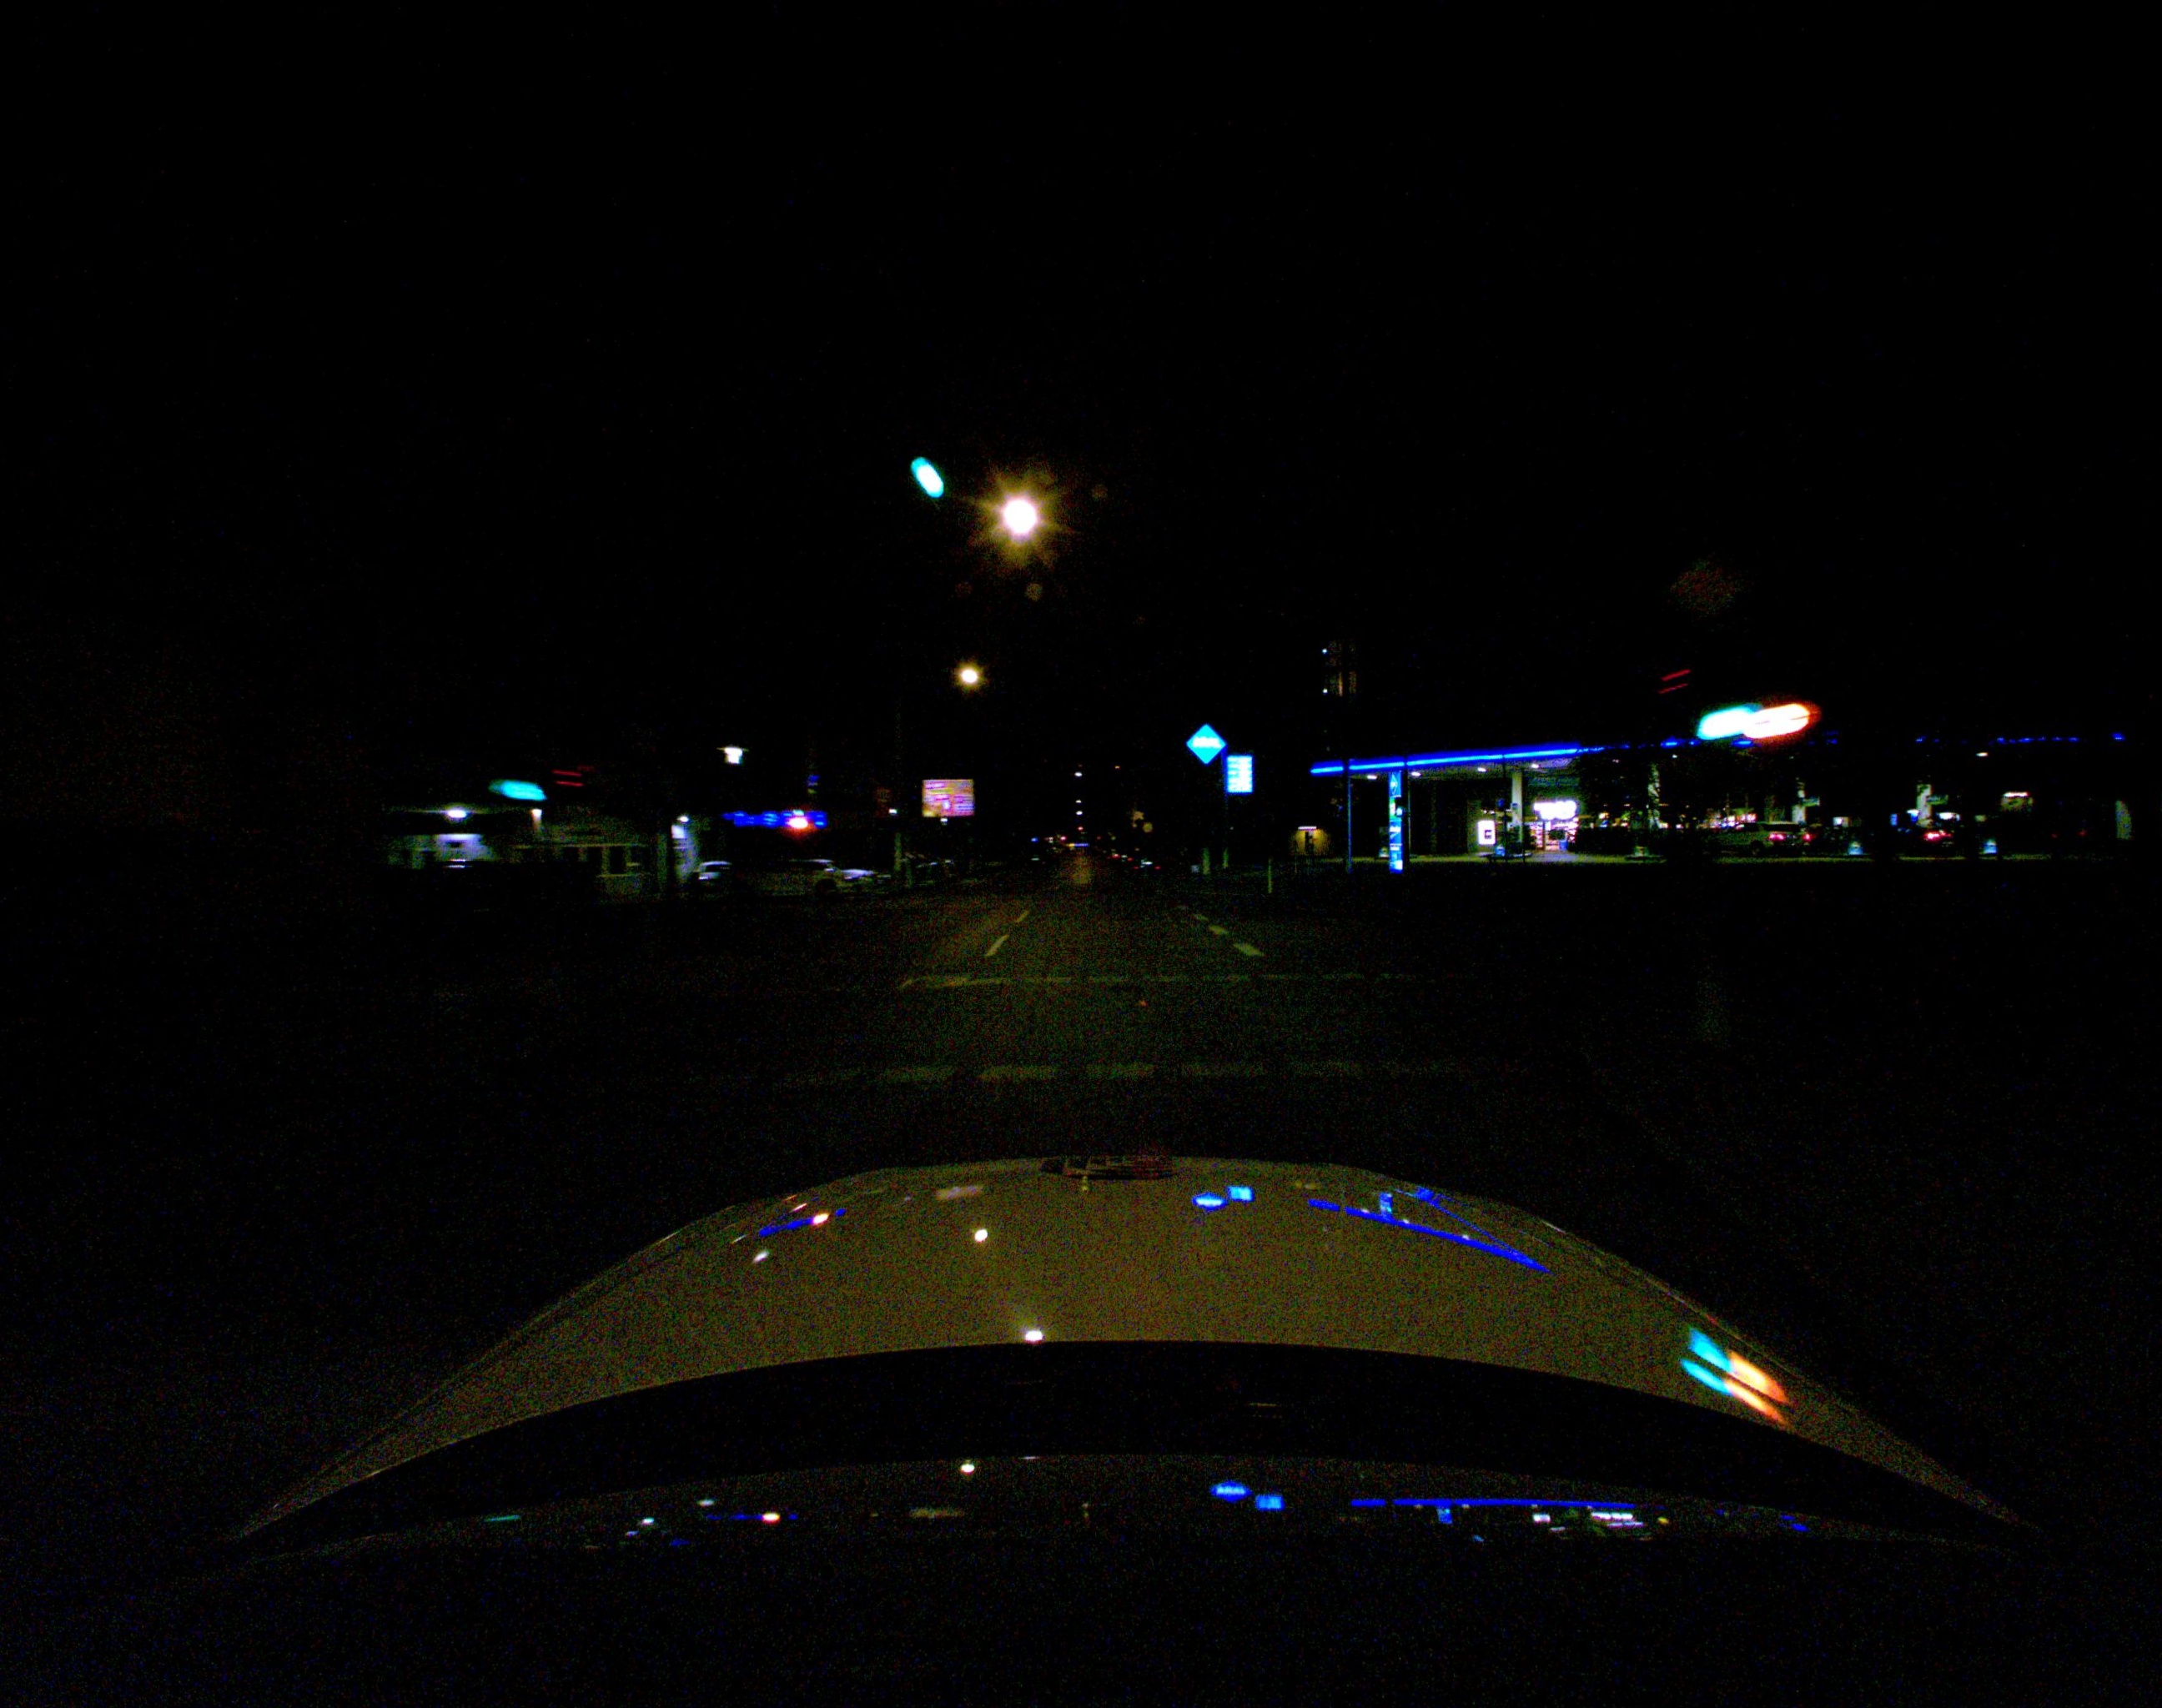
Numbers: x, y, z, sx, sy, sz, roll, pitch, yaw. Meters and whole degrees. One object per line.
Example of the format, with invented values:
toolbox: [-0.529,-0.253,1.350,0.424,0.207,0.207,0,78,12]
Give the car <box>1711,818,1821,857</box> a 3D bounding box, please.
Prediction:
car: [33.808,-0.873,40.372,1.985,1.768,4.256,-1,3,3]

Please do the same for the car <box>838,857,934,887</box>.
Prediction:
car: [-9.908,0.904,41.645,4.425,1.449,1.999,-1,-1,-1]

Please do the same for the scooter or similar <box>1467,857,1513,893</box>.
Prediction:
scooter or similar: [13.728,0.684,27.322,1.689,1.092,0.708,-2,1,-38]

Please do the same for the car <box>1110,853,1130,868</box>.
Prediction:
car: [3.936,0.666,82.895,1.986,1.520,4.001,-1,0,2]

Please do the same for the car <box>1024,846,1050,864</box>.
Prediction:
car: [-3.753,0.086,70.497,1.987,1.502,4.000,-1,0,0]

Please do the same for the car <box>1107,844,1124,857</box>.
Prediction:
car: [4.241,-0.379,100.766,1.986,1.520,4.001,-1,0,2]

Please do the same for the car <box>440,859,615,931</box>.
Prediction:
car: [-14.139,0.981,21.130,1.990,1.622,3.994,0,0,-4]

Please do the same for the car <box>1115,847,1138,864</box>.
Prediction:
car: [4.209,0.191,75.773,1.986,1.520,4.001,-1,0,2]

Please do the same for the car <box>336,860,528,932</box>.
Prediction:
car: [-16.731,1.009,21.303,1.990,1.622,3.994,0,0,-4]

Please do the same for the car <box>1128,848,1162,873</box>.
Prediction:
car: [4.019,0.365,51.907,1.986,1.516,4.002,0,0,2]

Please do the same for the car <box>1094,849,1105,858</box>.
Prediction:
car: [3.393,-0.121,148.004,1.986,1.520,4.001,-1,0,2]

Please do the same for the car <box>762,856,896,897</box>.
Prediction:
car: [-9.490,0.827,30.964,4.426,1.449,1.999,-1,-1,-2]

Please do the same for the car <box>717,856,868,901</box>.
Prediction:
car: [-9.793,0.811,27.928,4.425,1.449,1.999,-1,-1,-1]

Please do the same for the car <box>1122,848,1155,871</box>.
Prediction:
car: [3.999,0.366,57.442,1.988,1.596,3.998,0,0,-1]

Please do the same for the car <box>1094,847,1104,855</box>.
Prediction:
car: [3.726,-0.648,171.140,1.986,1.520,4.001,-1,0,2]

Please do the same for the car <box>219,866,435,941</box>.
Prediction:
car: [-19.077,1.178,20.906,1.990,1.622,3.994,0,0,-4]

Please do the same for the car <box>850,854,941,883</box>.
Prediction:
car: [-9.981,0.765,44.111,4.425,1.449,1.999,-1,-1,-1]

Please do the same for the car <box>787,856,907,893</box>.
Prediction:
car: [-9.740,0.852,34.114,4.425,1.449,1.999,-1,-1,-1]

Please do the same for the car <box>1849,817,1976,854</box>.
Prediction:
car: [40.161,-0.923,39.484,1.988,1.663,3.998,-1,3,-2]

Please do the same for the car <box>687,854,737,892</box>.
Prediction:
car: [-18.746,0.946,41.314,2.005,1.775,3.962,0,-1,-29]
